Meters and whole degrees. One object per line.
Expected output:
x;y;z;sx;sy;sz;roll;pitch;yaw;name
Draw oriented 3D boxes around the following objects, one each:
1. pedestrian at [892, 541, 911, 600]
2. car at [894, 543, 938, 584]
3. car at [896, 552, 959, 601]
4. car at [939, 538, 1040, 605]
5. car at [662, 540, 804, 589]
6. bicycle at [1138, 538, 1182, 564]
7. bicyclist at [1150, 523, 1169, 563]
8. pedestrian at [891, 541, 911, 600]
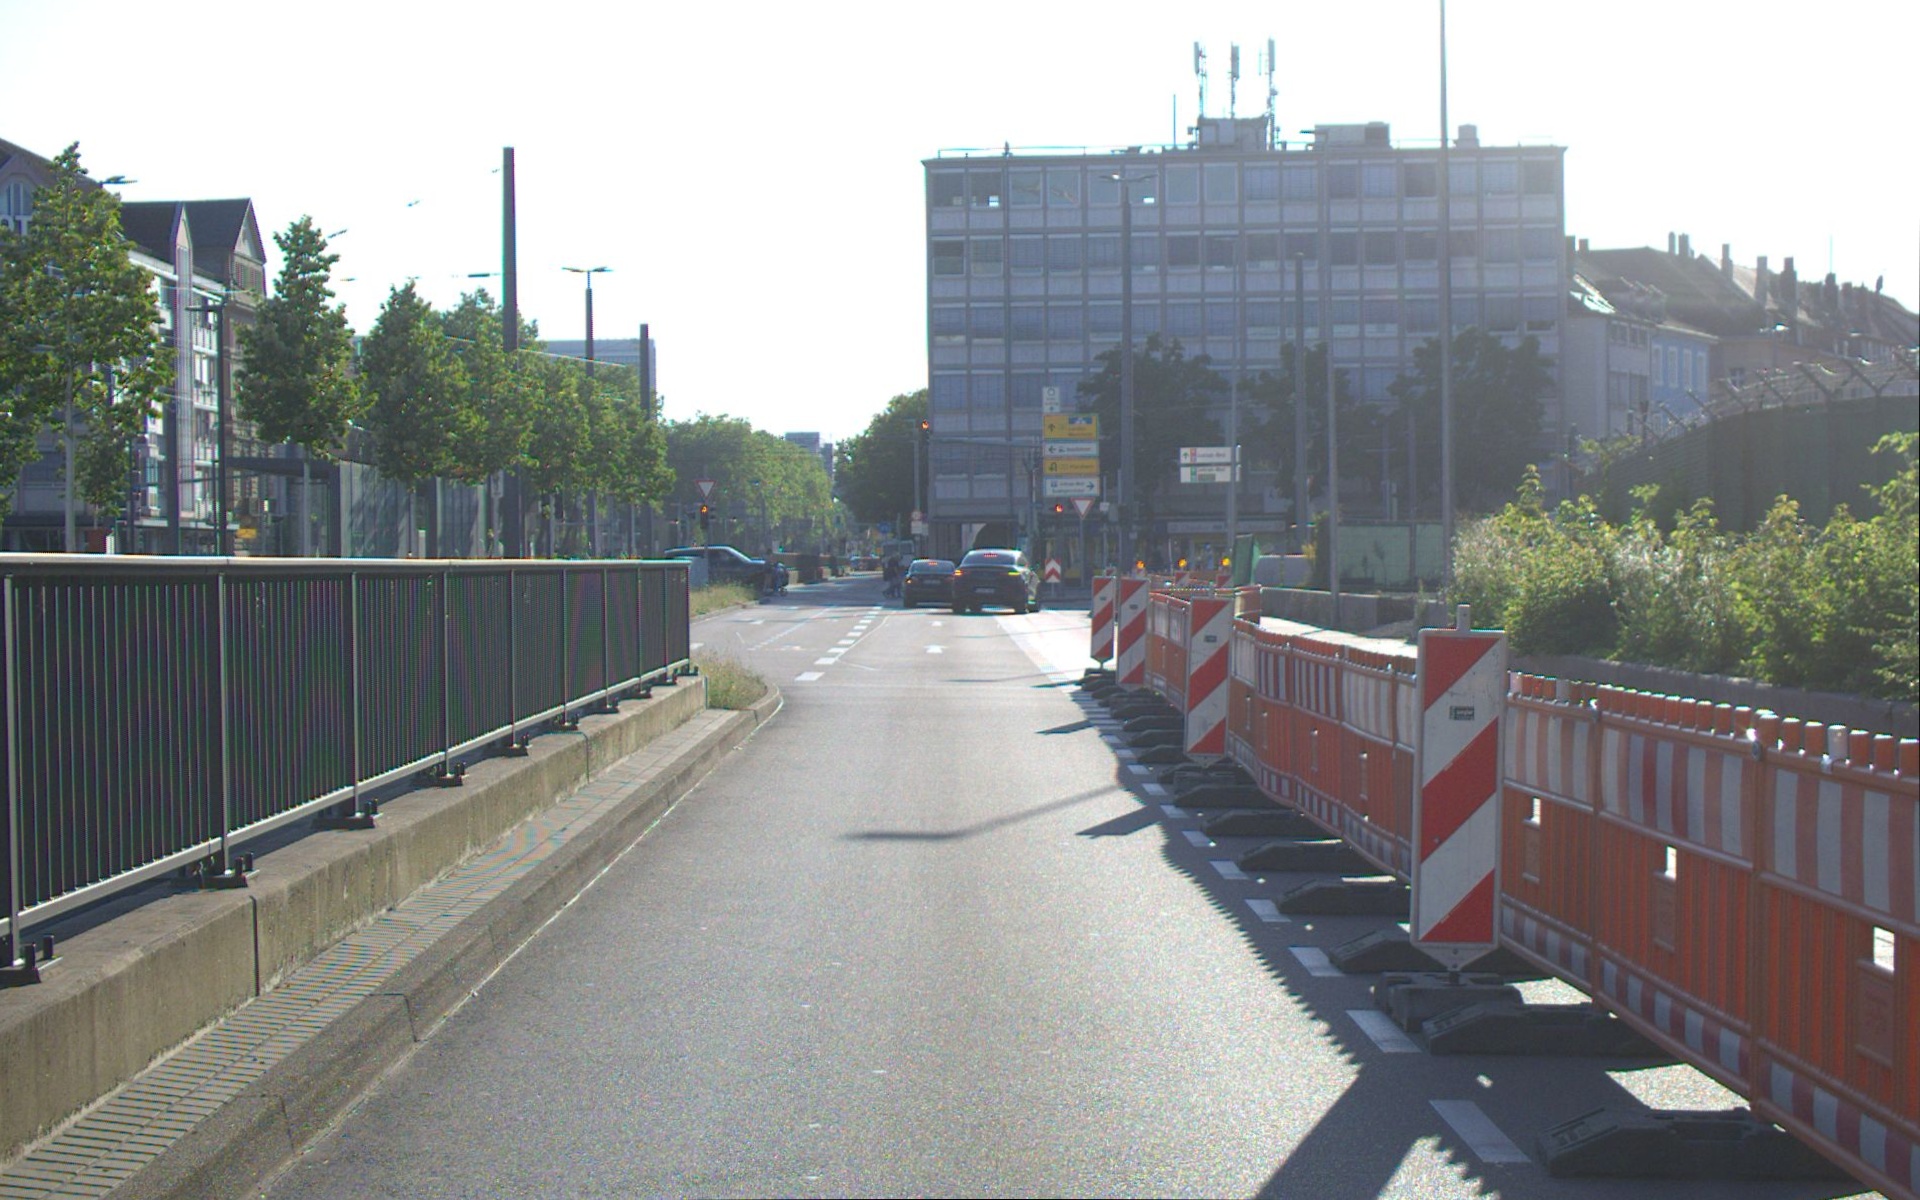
-1.987;-1.001;117.423;0.613;2.007;0.510;0;1;3;pedestrian
-2.669;-2.200;207.125;2.486;2.384;5.935;-2;1;-1;car
-0.979;-0.726;102.964;1.743;1.421;4.000;0;1;-2;car
0.840;-0.802;93.847;1.994;1.687;3.998;1;2;12;car
-8.302;-1.294;126.002;4.820;1.744;1.999;1;1;11;car
8.461;-2.087;145.371;1.775;1.068;0.535;-1;1;-10;bicycle
8.418;-2.414;145.357;0.663;1.706;0.538;-1;1;-10;bicyclist
-2.006;-0.994;116.867;0.613;2.007;0.510;0;1;3;pedestrian
